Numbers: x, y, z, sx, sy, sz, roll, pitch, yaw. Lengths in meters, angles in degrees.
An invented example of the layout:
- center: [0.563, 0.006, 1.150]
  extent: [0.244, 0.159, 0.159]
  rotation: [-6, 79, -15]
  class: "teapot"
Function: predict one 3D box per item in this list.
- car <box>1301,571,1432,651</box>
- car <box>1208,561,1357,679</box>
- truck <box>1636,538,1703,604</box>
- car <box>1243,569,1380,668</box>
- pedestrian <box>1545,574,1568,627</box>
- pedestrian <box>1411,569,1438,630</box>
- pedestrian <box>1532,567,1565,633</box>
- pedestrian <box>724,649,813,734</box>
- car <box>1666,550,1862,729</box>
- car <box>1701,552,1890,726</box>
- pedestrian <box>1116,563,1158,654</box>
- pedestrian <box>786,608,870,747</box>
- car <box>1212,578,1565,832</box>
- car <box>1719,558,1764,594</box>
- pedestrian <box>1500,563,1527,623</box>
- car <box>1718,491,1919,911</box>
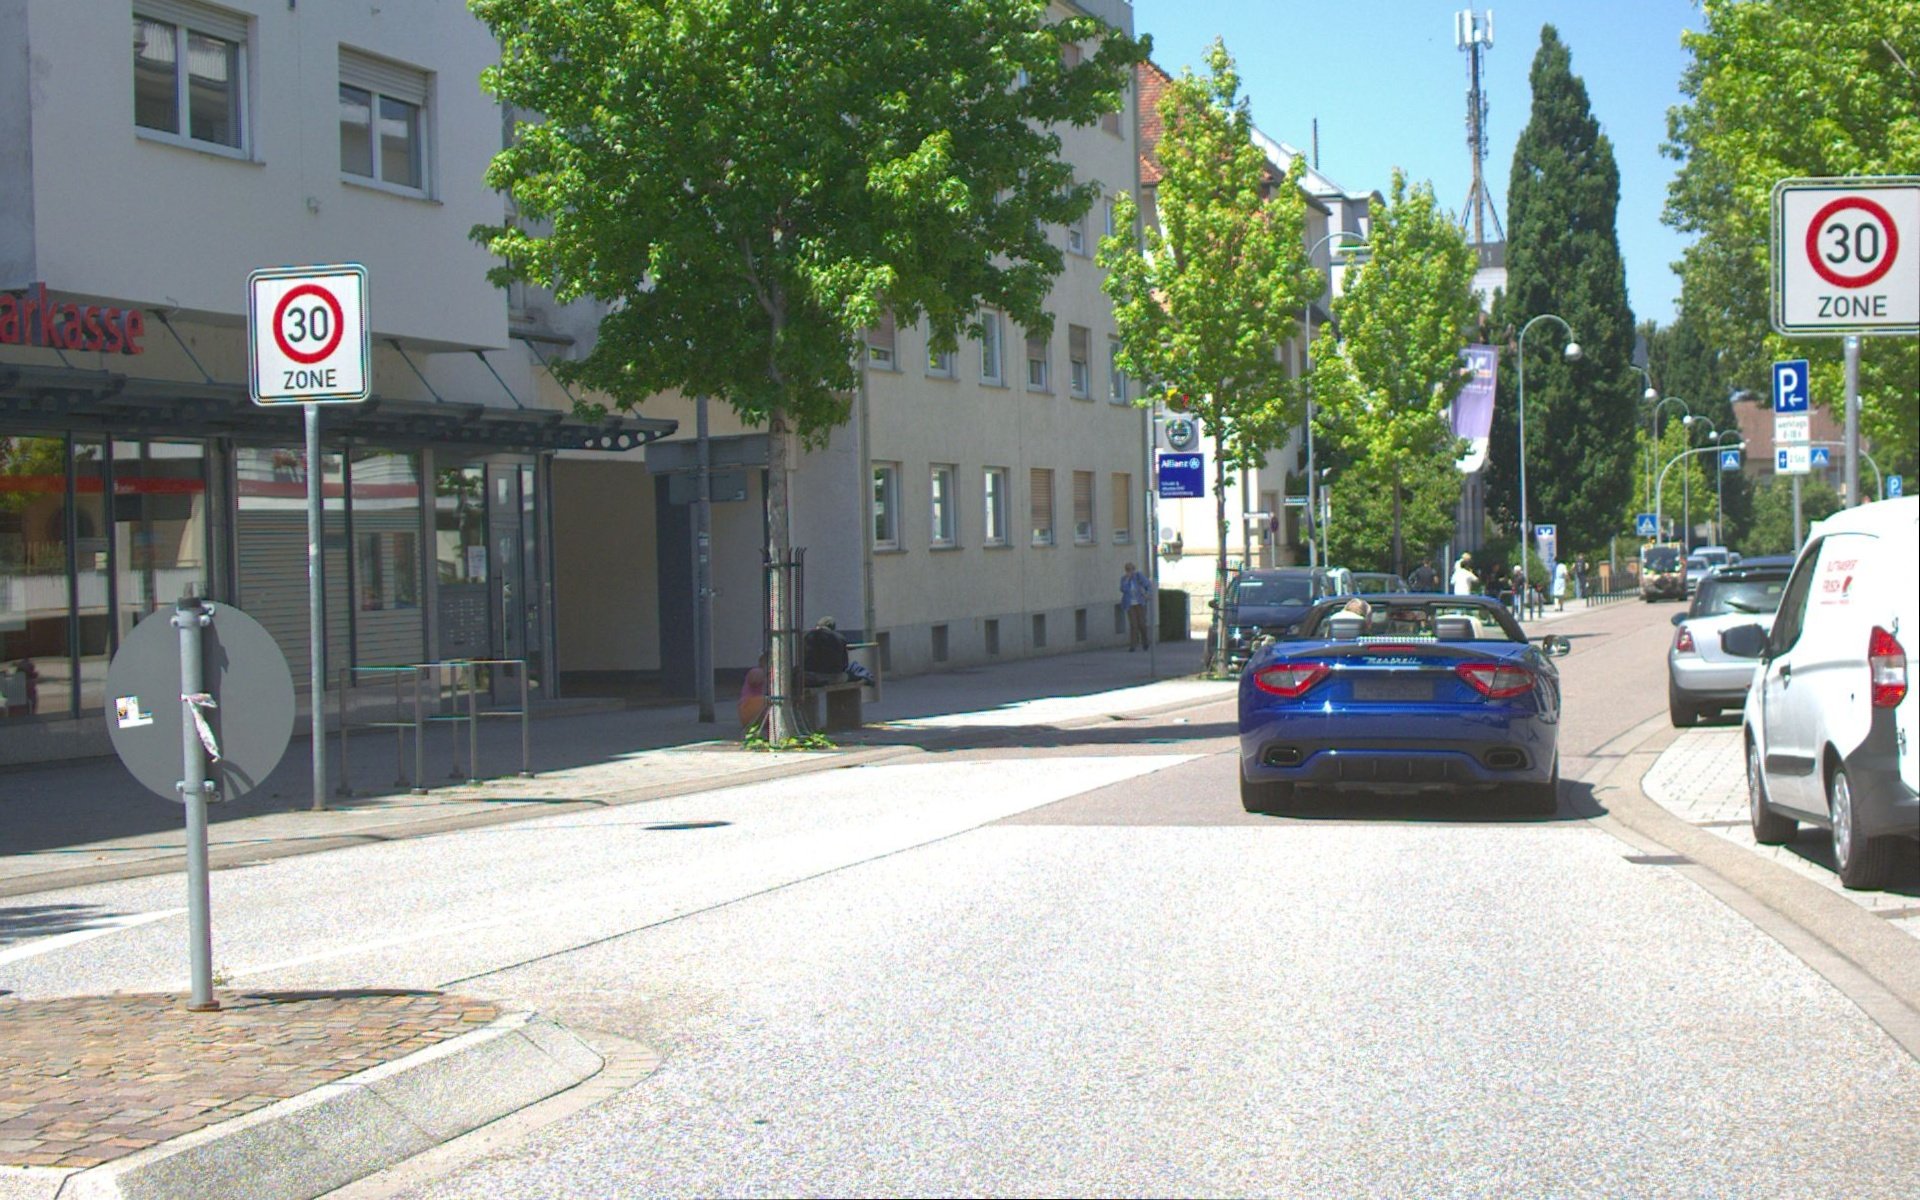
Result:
- center: [7.960, 0.183, 66.998]
  extent: [1.755, 1.469, 4.318]
  rotation: [0, 1, 17]
  class: "car"
- center: [5.243, 0.286, 55.491]
  extent: [1.730, 1.734, 4.390]
  rotation: [2, 2, 14]
  class: "car"
- center: [24.205, -1.013, 117.201]
  extent: [1.806, 2.110, 4.712]
  rotation: [-3, 1, 16]
  class: "truck"
- center: [6.286, 0.291, 61.029]
  extent: [1.825, 1.614, 4.390]
  rotation: [0, 1, 14]
  class: "car"
- center: [17.917, 0.002, 103.302]
  extent: [0.587, 1.569, 0.781]
  rotation: [-1, 0, 14]
  class: "pedestrian"
- center: [11.401, -0.014, 84.391]
  extent: [0.579, 1.469, 0.564]
  rotation: [-1, 0, 15]
  class: "pedestrian"
- center: [17.703, -0.001, 103.446]
  extent: [0.849, 1.909, 0.761]
  rotation: [-3, 2, 14]
  class: "pedestrian"
- center: [-2.011, 0.965, 36.084]
  extent: [0.665, 0.855, 0.732]
  rotation: [-2, -4, 24]
  class: "pedestrian"
- center: [7.675, 0.338, 32.623]
  extent: [1.623, 1.553, 3.838]
  rotation: [-2, 0, 15]
  class: "car"
- center: [9.127, 0.372, 37.307]
  extent: [1.765, 1.700, 4.702]
  rotation: [-3, 0, 16]
  class: "car"
- center: [3.384, 0.151, 65.627]
  extent: [0.656, 1.674, 0.631]
  rotation: [-3, 2, -2]
  class: "pedestrian"
- center: [-1.335, 0.783, 34.821]
  extent: [0.568, 1.367, 0.666]
  rotation: [-2, -1, 24]
  class: "pedestrian"
- center: [2.732, 0.571, 21.692]
  extent: [1.977, 1.393, 4.625]
  rotation: [0, 1, 8]
  class: "car"
- center: [35.210, -1.085, 154.797]
  extent: [1.771, 1.471, 4.135]
  rotation: [-3, 0, 15]
  class: "car"
- center: [13.923, -0.178, 86.426]
  extent: [0.579, 1.469, 0.564]
  rotation: [-1, 0, 15]
  class: "pedestrian"
- center: [4.735, 0.367, 16.085]
  extent: [1.747, 1.718, 3.909]
  rotation: [-3, 0, 5]
  class: "car"
